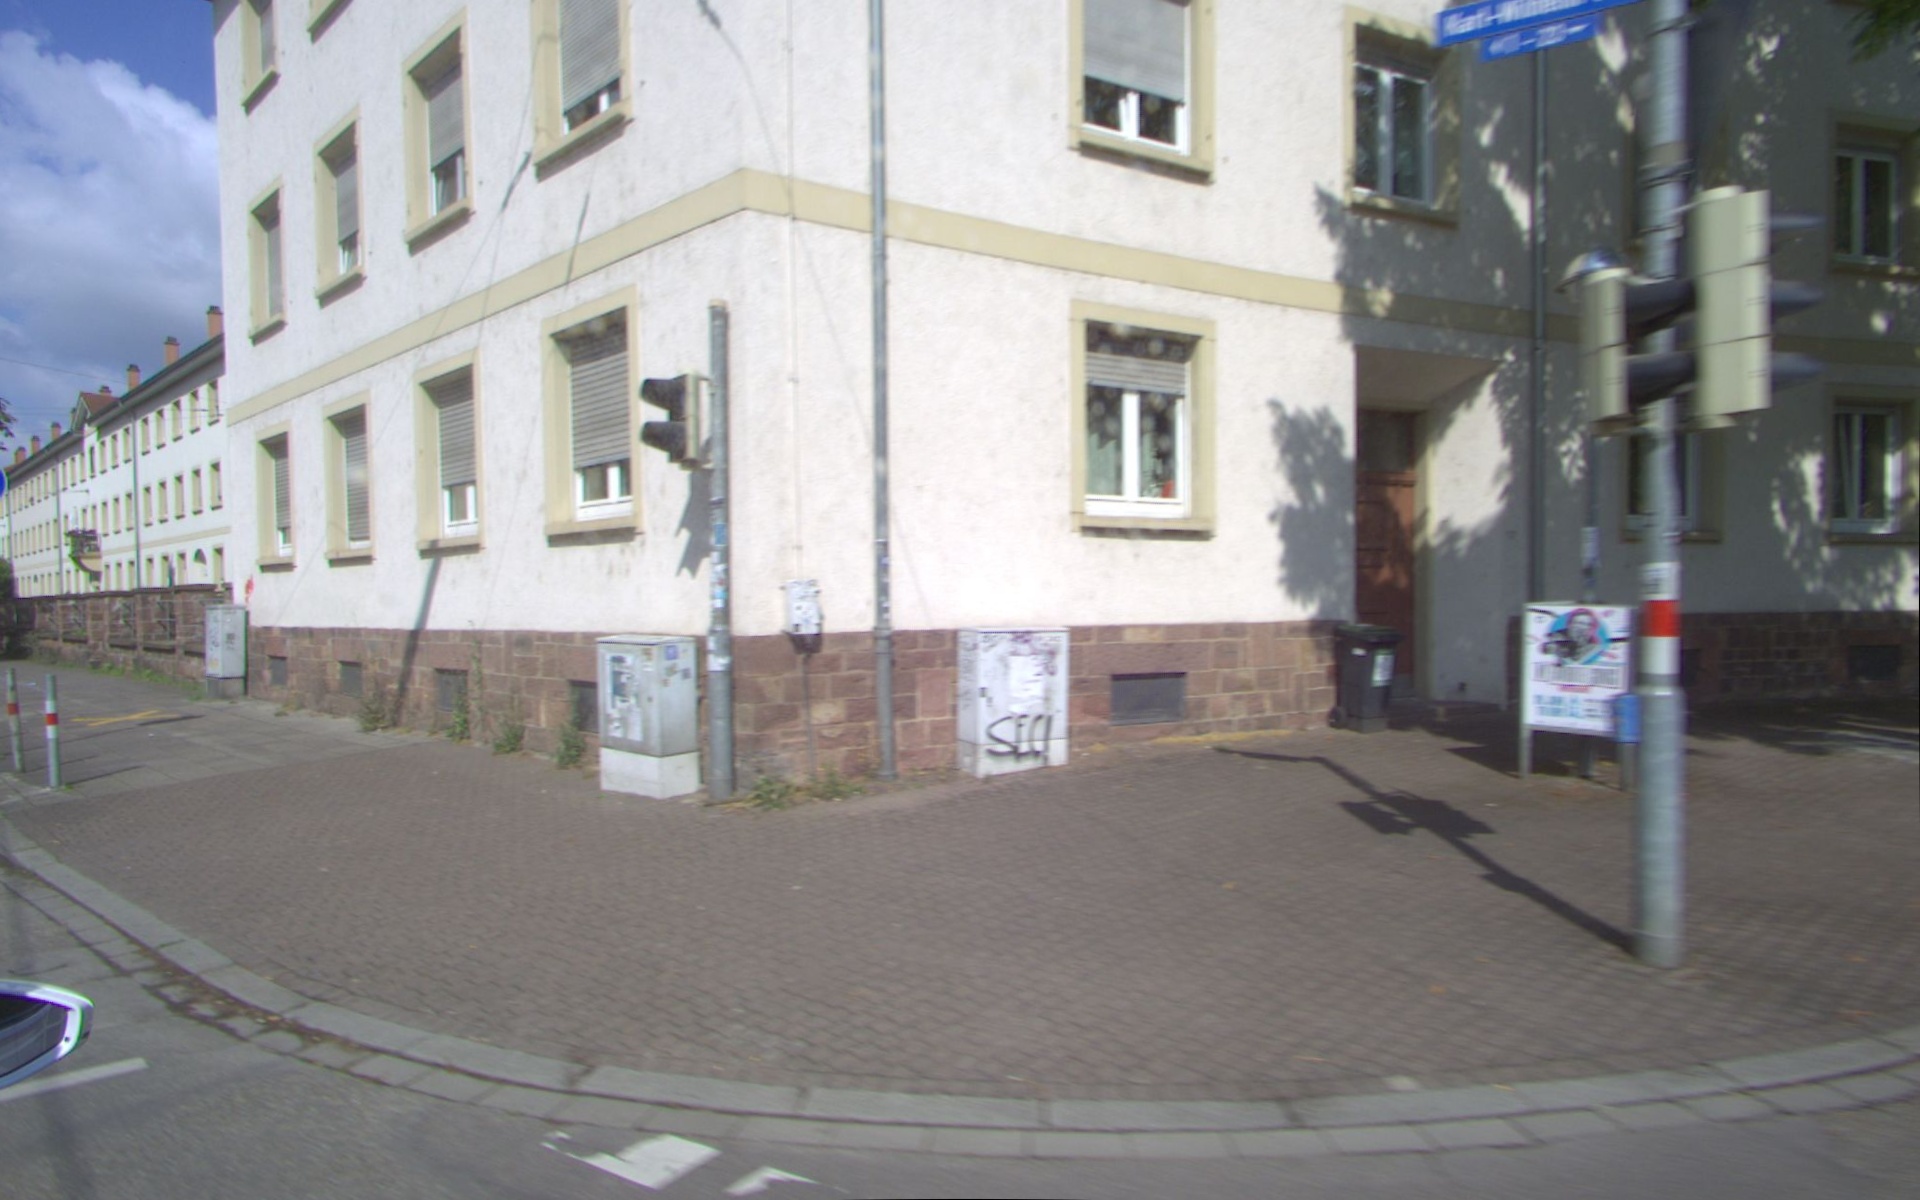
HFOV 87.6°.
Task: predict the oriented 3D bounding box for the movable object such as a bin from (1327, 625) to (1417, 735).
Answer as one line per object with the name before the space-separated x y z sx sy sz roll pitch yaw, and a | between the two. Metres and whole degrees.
movable object such as a bin | 3.704 0.703 9.029 0.489 0.938 0.574 -1 1 -24
